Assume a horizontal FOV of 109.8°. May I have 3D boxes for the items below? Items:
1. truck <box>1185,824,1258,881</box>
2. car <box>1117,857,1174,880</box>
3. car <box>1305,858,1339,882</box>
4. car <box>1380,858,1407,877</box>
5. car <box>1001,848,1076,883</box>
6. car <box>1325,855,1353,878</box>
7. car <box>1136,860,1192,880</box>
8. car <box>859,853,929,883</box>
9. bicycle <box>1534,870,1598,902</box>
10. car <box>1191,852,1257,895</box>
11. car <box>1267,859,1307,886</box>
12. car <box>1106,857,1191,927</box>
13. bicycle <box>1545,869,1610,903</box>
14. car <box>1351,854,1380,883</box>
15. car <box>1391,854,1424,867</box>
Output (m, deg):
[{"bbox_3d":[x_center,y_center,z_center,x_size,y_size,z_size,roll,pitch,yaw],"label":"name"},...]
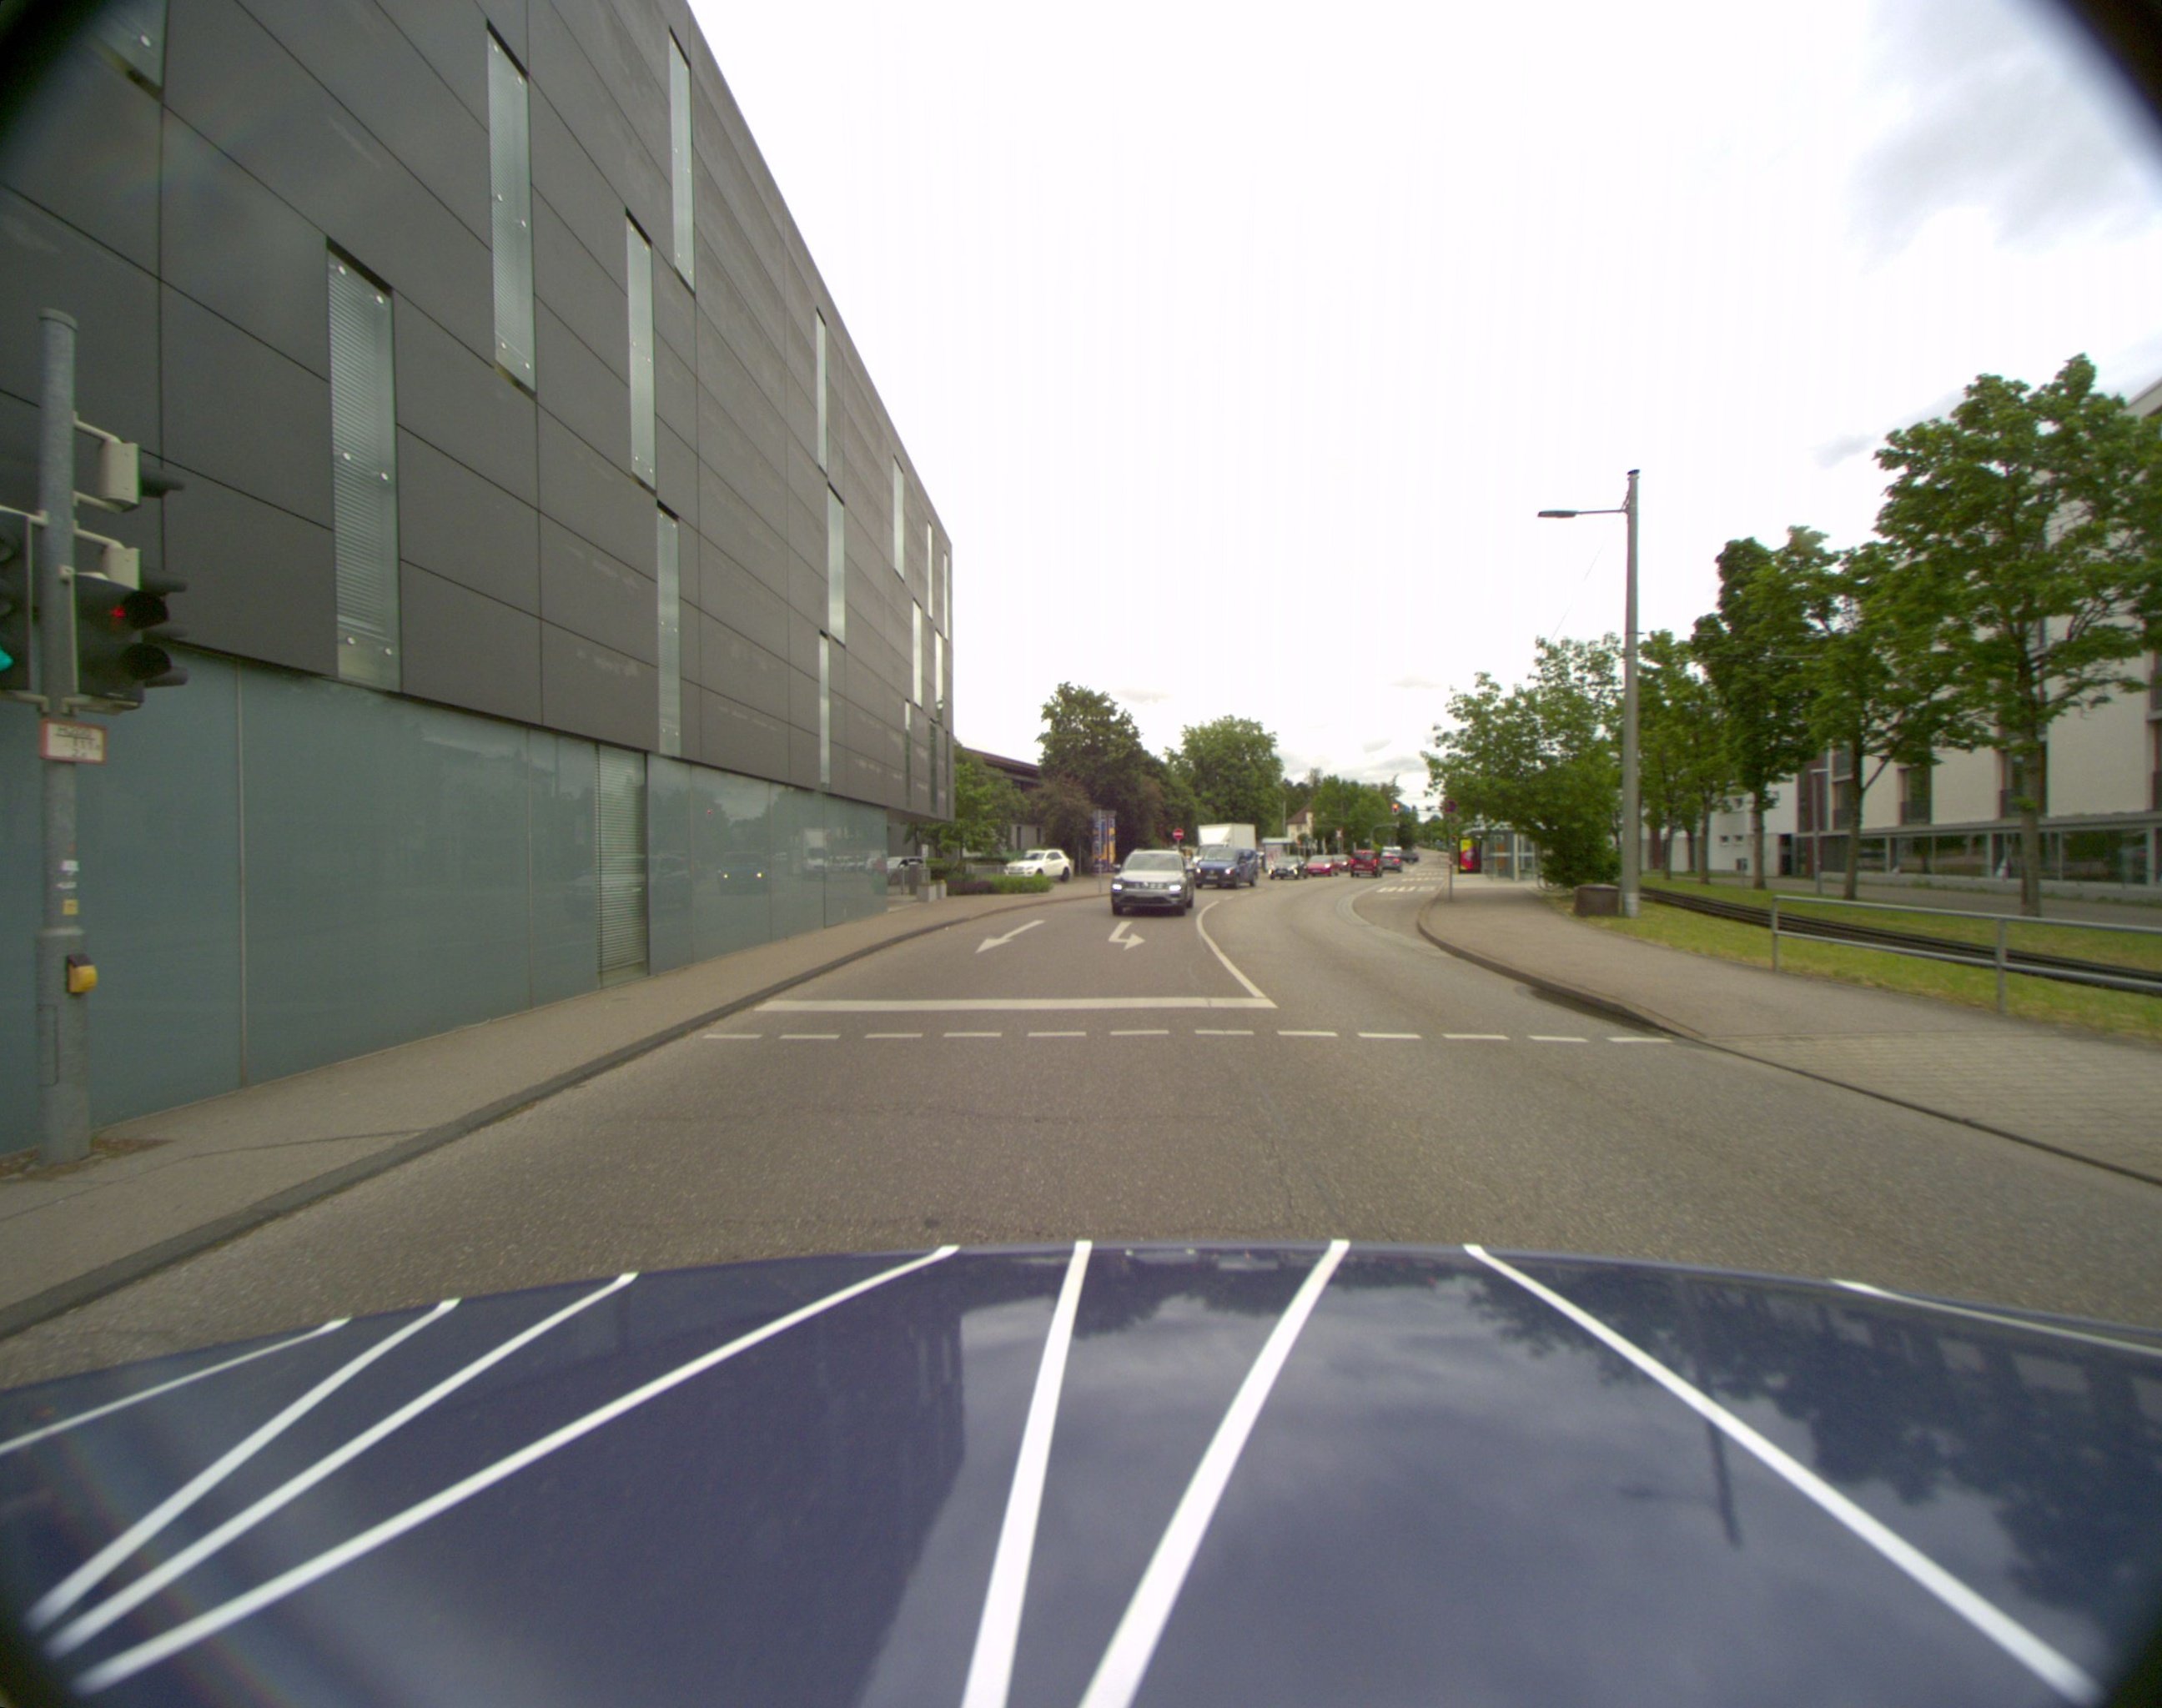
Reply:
[{"bbox_3d":[9.373,-0.107,49.922,2.536,3.406,7.790,1,1,28],"label":"truck"},{"bbox_3d":[4.475,0.992,53.097,3.894,1.475,1.683,-2,0,2],"label":"car"},{"bbox_3d":[16.584,1.088,52.212,1.846,1.525,4.007,1,0,23],"label":"car"},{"bbox_3d":[26.131,1.124,63.523,1.769,1.470,4.008,2,0,26],"label":"car"},{"bbox_3d":[-2.175,0.581,40.303,1.853,1.747,4.731,1,0,27],"label":"car"},{"bbox_3d":[21.601,0.986,63.508,1.846,1.850,4.265,1,0,23],"label":"car"},{"bbox_3d":[6.329,1.215,57.894,3.999,1.401,1.524,-1,0,-5],"label":"car"},{"bbox_3d":[-10.143,0.730,41.544,1.617,1.475,4.223,1,1,20],"label":"car"},{"bbox_3d":[16.018,1.064,25.130,1.749,1.040,0.409,-1,-1,29],"label":"bicycle"},{"bbox_3d":[6.578,0.844,34.630,1.846,1.850,4.008,1,0,27],"label":"car"},{"bbox_3d":[12.631,1.076,46.435,1.846,1.525,4.007,1,0,23],"label":"car"},{"bbox_3d":[1.896,0.903,20.077,1.810,1.637,4.334,0,0,11],"label":"car"},{"bbox_3d":[15.922,1.028,24.393,1.707,1.082,0.408,-1,0,15],"label":"bicycle"},{"bbox_3d":[19.259,0.934,51.357,1.682,1.798,4.359,2,0,22],"label":"car"},{"bbox_3d":[43.954,0.903,102.257,3.990,1.696,1.932,0,0,24],"label":"car"}]
